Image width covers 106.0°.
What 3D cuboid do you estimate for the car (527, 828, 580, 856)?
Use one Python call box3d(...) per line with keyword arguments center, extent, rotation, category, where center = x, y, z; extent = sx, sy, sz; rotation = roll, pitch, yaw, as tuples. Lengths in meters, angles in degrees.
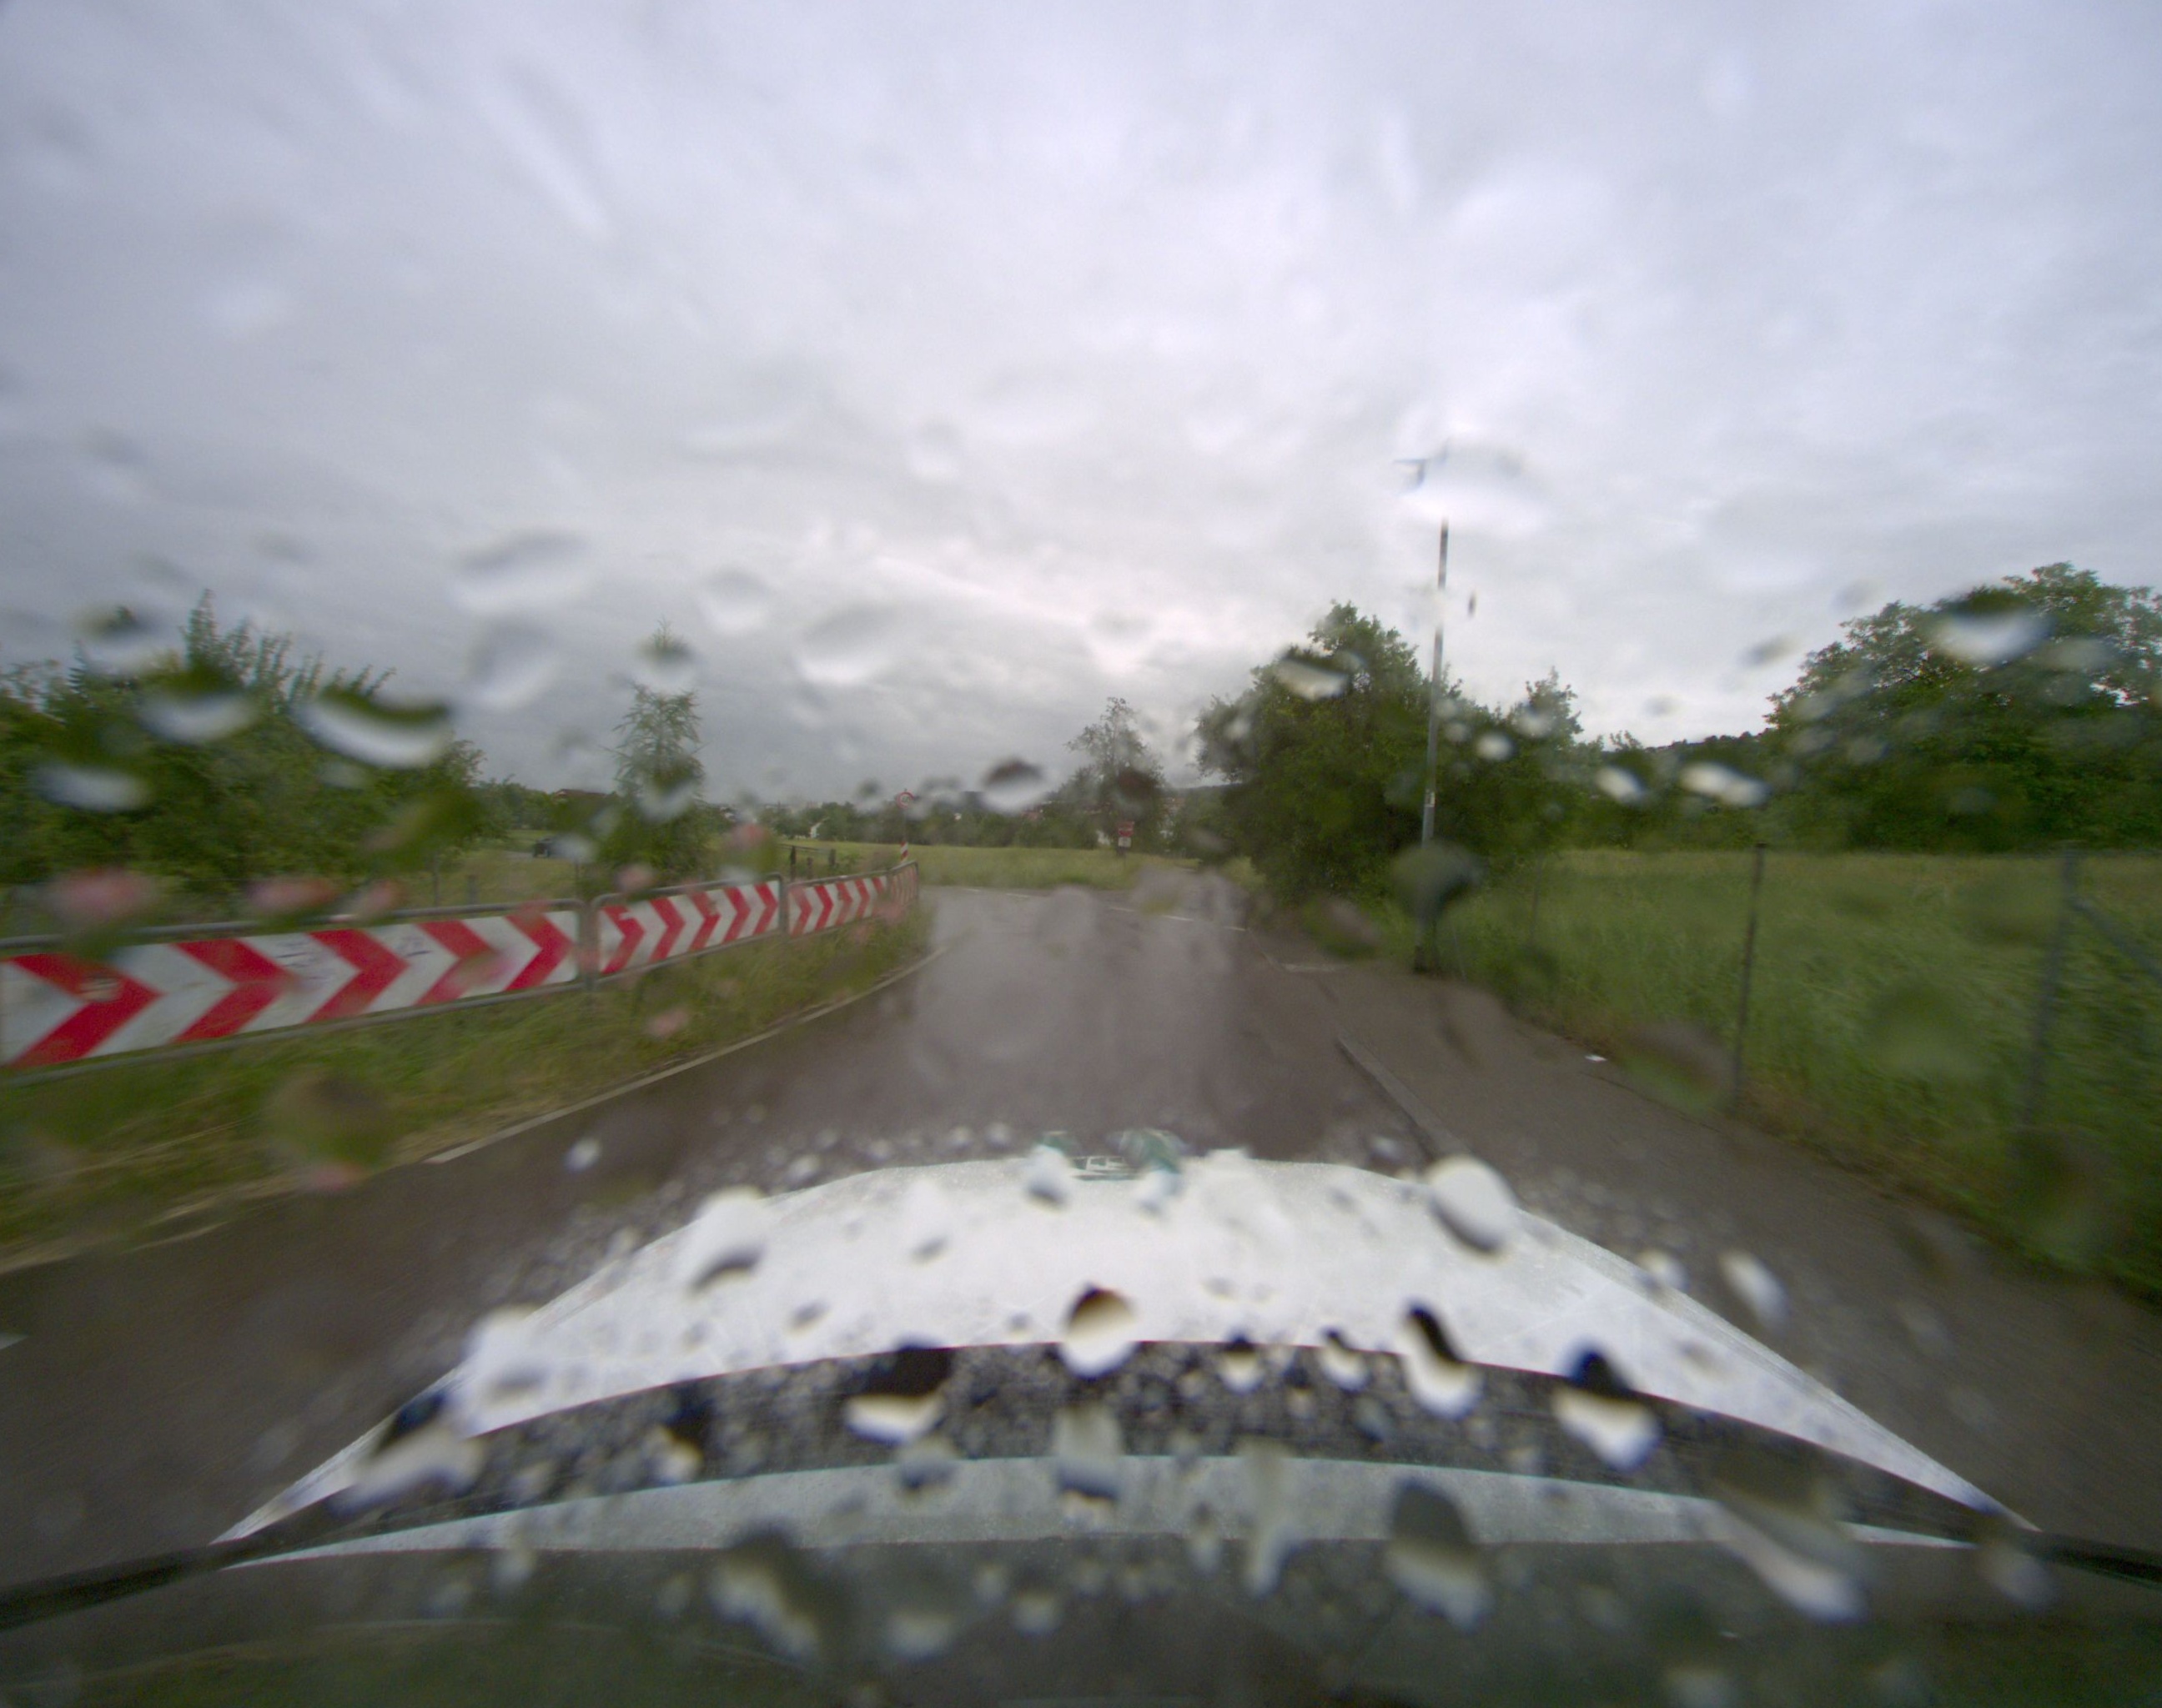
box3d(center=(-31.974, -0.733, 49.333), extent=(3.950, 1.593, 1.831), rotation=(1, 1, 44), category="car")
